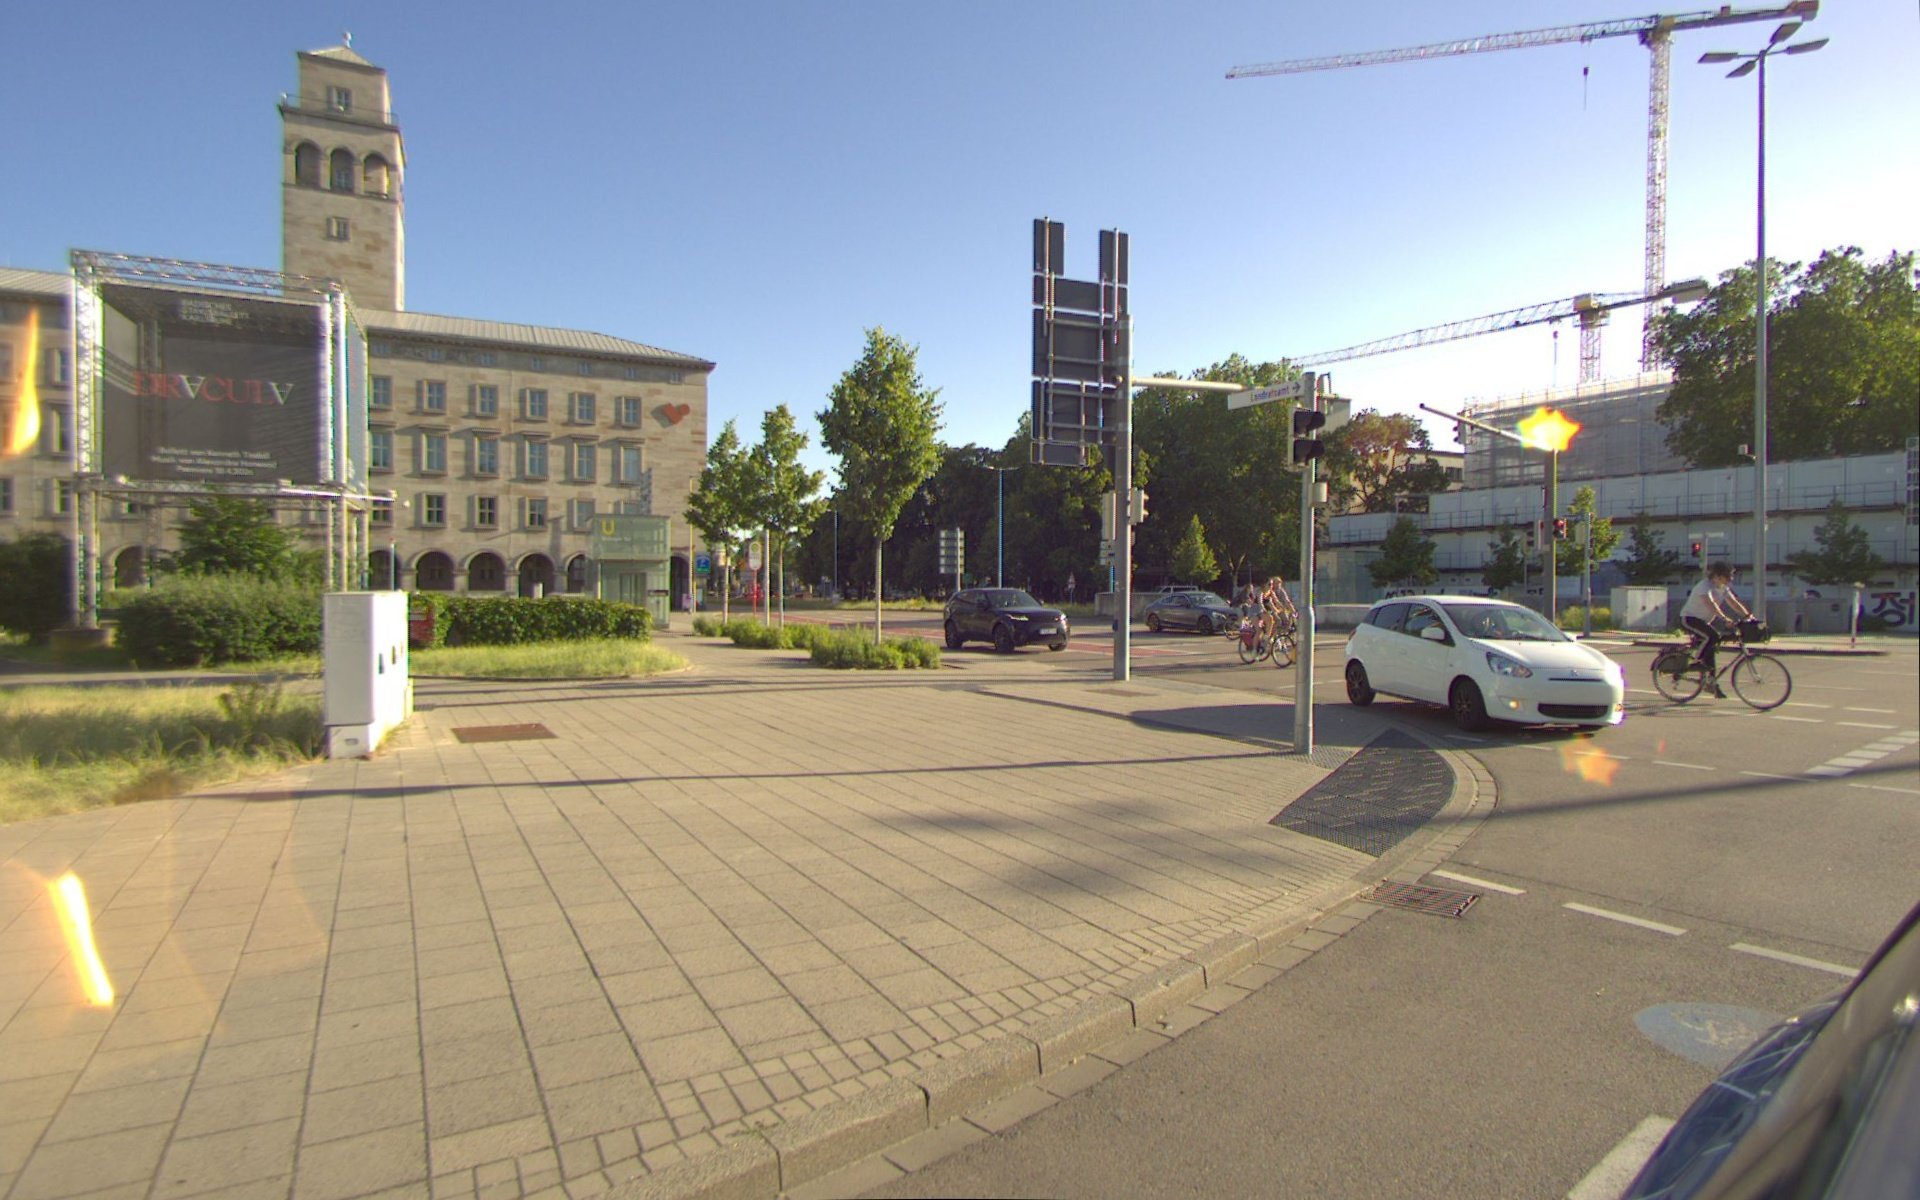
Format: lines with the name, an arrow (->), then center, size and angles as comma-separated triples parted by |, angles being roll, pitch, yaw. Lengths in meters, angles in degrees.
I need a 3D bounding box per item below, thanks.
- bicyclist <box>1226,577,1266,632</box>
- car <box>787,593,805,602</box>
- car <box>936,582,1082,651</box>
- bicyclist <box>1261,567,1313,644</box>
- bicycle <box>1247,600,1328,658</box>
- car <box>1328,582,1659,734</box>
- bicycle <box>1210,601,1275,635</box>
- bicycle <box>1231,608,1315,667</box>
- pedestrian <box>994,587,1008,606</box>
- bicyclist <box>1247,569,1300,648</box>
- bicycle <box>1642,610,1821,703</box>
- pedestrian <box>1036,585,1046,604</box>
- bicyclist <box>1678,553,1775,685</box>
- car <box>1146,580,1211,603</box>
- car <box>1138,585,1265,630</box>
bicyclist -> 8.229, 0.119, 29.152 | 0.612, 1.522, 0.938 | -1, 1, -31
car -> -22.974, -0.346, 141.740 | 1.586, 1.147, 3.777 | -2, 1, -25
car -> 1.203, 0.380, 27.428 | 1.959, 1.683, 4.800 | 0, 1, -25
bicyclist -> 6.905, 0.111, 21.413 | 0.612, 1.595, 0.896 | 0, 0, -22
bicycle -> 6.895, 0.588, 21.420 | 0.612, 1.130, 1.819 | 0, 1, -22
car -> 6.279, 0.567, 12.496 | 1.628, 1.489, 3.974 | -2, 1, -6
bicycle -> 8.153, 0.497, 29.286 | 0.612, 0.920, 1.912 | -2, 1, -31
bicycle -> 6.380, 0.734, 20.702 | 0.638, 1.108, 1.804 | 0, 1, -22
pedestrian -> 4.083, -0.337, 100.757 | 0.977, 1.805, 0.966 | -2, 1, -24
bicyclist -> 6.392, 0.161, 20.683 | 0.638, 1.562, 0.849 | 0, 0, -22
bicycle -> 10.223, 0.712, 13.497 | 0.694, 1.108, 1.804 | 0, 1, -20
pedestrian -> 7.265, -0.504, 90.735 | 0.651, 1.748, 0.699 | 0, 0, -24
bicyclist -> 10.211, 0.236, 13.494 | 0.686, 1.690, 0.788 | 0, 0, -20
car -> 19.209, -0.740, 88.986 | 5.218, 1.915, 2.004 | -1, 0, -19
car -> 7.933, 0.196, 33.651 | 1.740, 1.368, 4.535 | -2, 1, -23
